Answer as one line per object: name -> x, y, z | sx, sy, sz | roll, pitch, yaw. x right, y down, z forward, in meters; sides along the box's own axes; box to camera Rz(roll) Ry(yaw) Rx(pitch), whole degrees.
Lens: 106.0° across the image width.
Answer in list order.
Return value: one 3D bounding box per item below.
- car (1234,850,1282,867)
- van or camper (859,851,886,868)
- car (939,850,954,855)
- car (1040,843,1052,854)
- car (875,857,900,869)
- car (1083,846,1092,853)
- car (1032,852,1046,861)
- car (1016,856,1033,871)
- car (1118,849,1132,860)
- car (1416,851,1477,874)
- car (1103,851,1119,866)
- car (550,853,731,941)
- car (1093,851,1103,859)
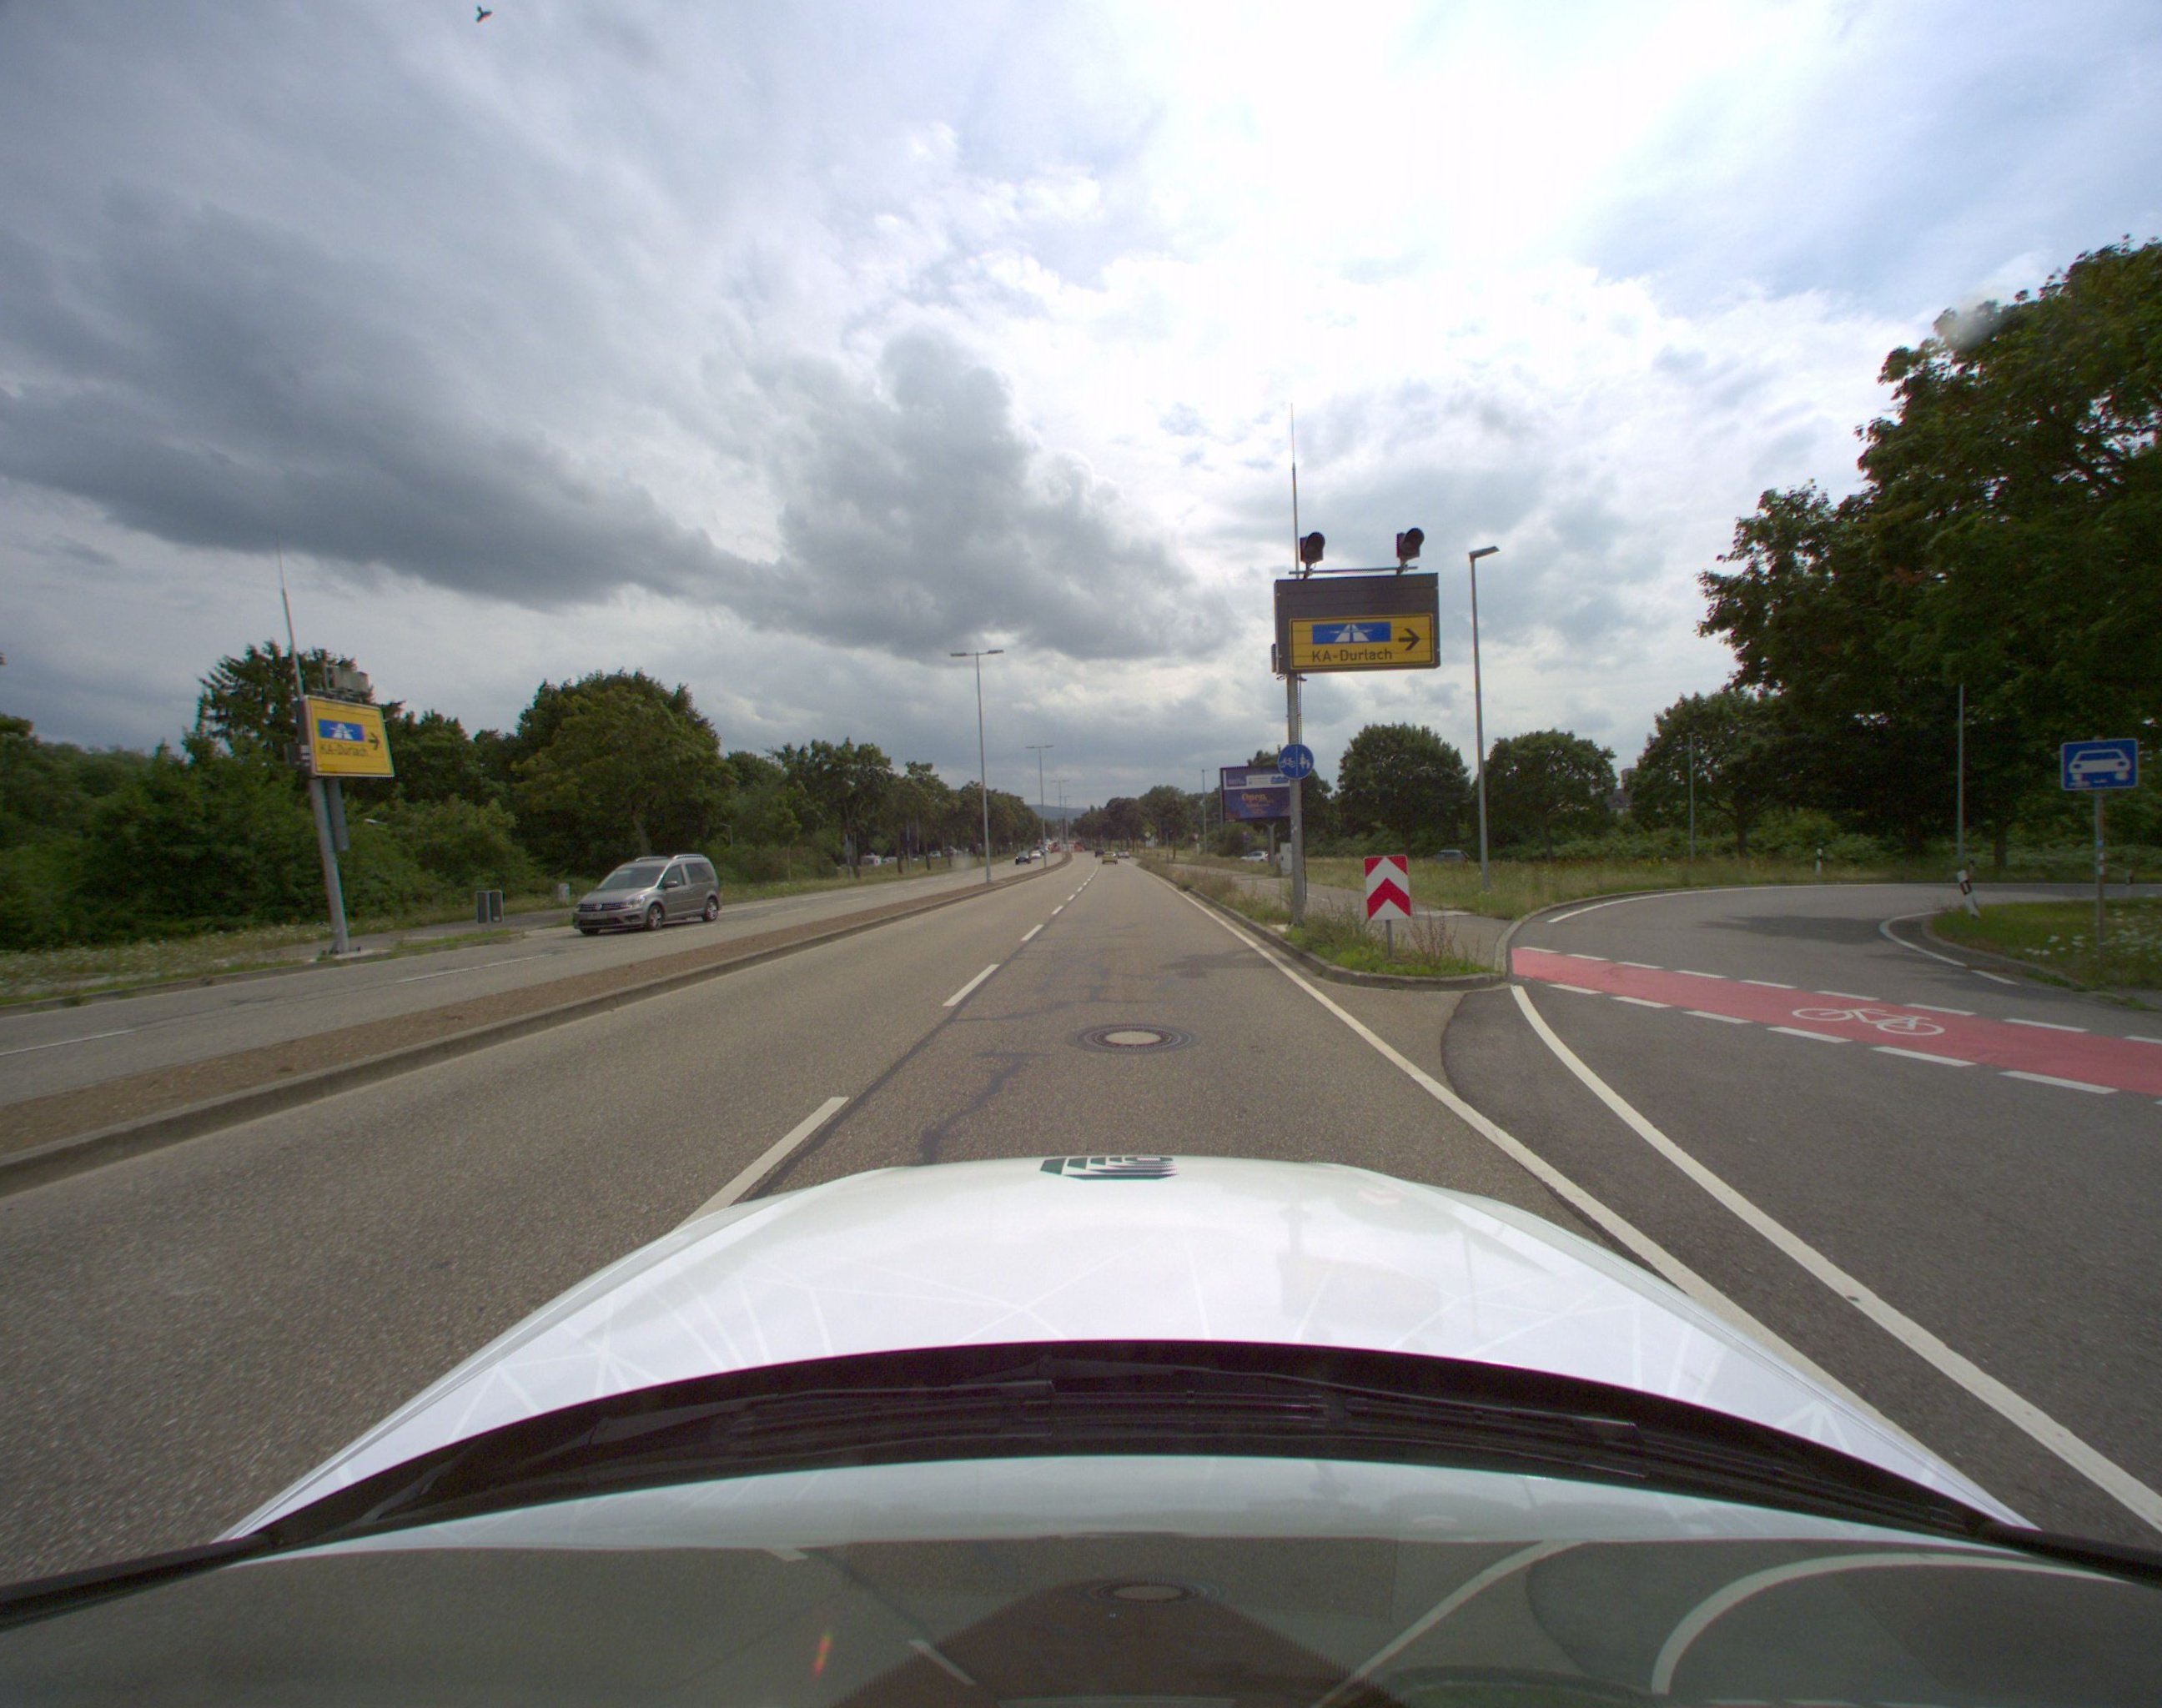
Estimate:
car -> 16.485, 0.429, 76.011 | 3.949, 1.464, 1.783 | -1, 2, 43
van or camper -> -33.175, 0.852, 129.863 | 2.463, 2.540, 6.721 | -2, 1, 0
car -> -36.612, -0.419, 221.824 | 3.759, 1.425, 1.967 | -2, 1, 1
car -> -7.662, -1.149, 178.247 | 2.088, 2.200, 6.004 | -3, 1, 0
car -> -34.118, 1.526, 143.733 | 3.975, 1.887, 1.939 | -2, 1, -1
car -> 1.809, -1.151, 219.580 | 2.198, 1.683, 4.002 | -2, 1, 1
car -> -7.751, 0.479, 150.672 | 1.986, 1.430, 4.691 | -3, 1, 2
car -> -8.051, 1.357, 115.898 | 1.987, 1.811, 4.798 | -3, 1, 1
car -> 7.121, 0.084, 132.178 | 2.007, 1.670, 4.001 | -2, 1, 1
car -> 27.399, 0.625, 61.079 | 3.949, 1.668, 1.720 | 0, 1, 30
car -> 3.535, 0.494, 97.102 | 1.787, 1.561, 4.001 | -2, 1, 1
car -> -10.873, 0.965, 20.580 | 1.895, 1.809, 4.542 | -2, 1, 2
car -> 3.036, 0.104, 144.501 | 1.661, 1.269, 4.001 | -2, 1, 1
